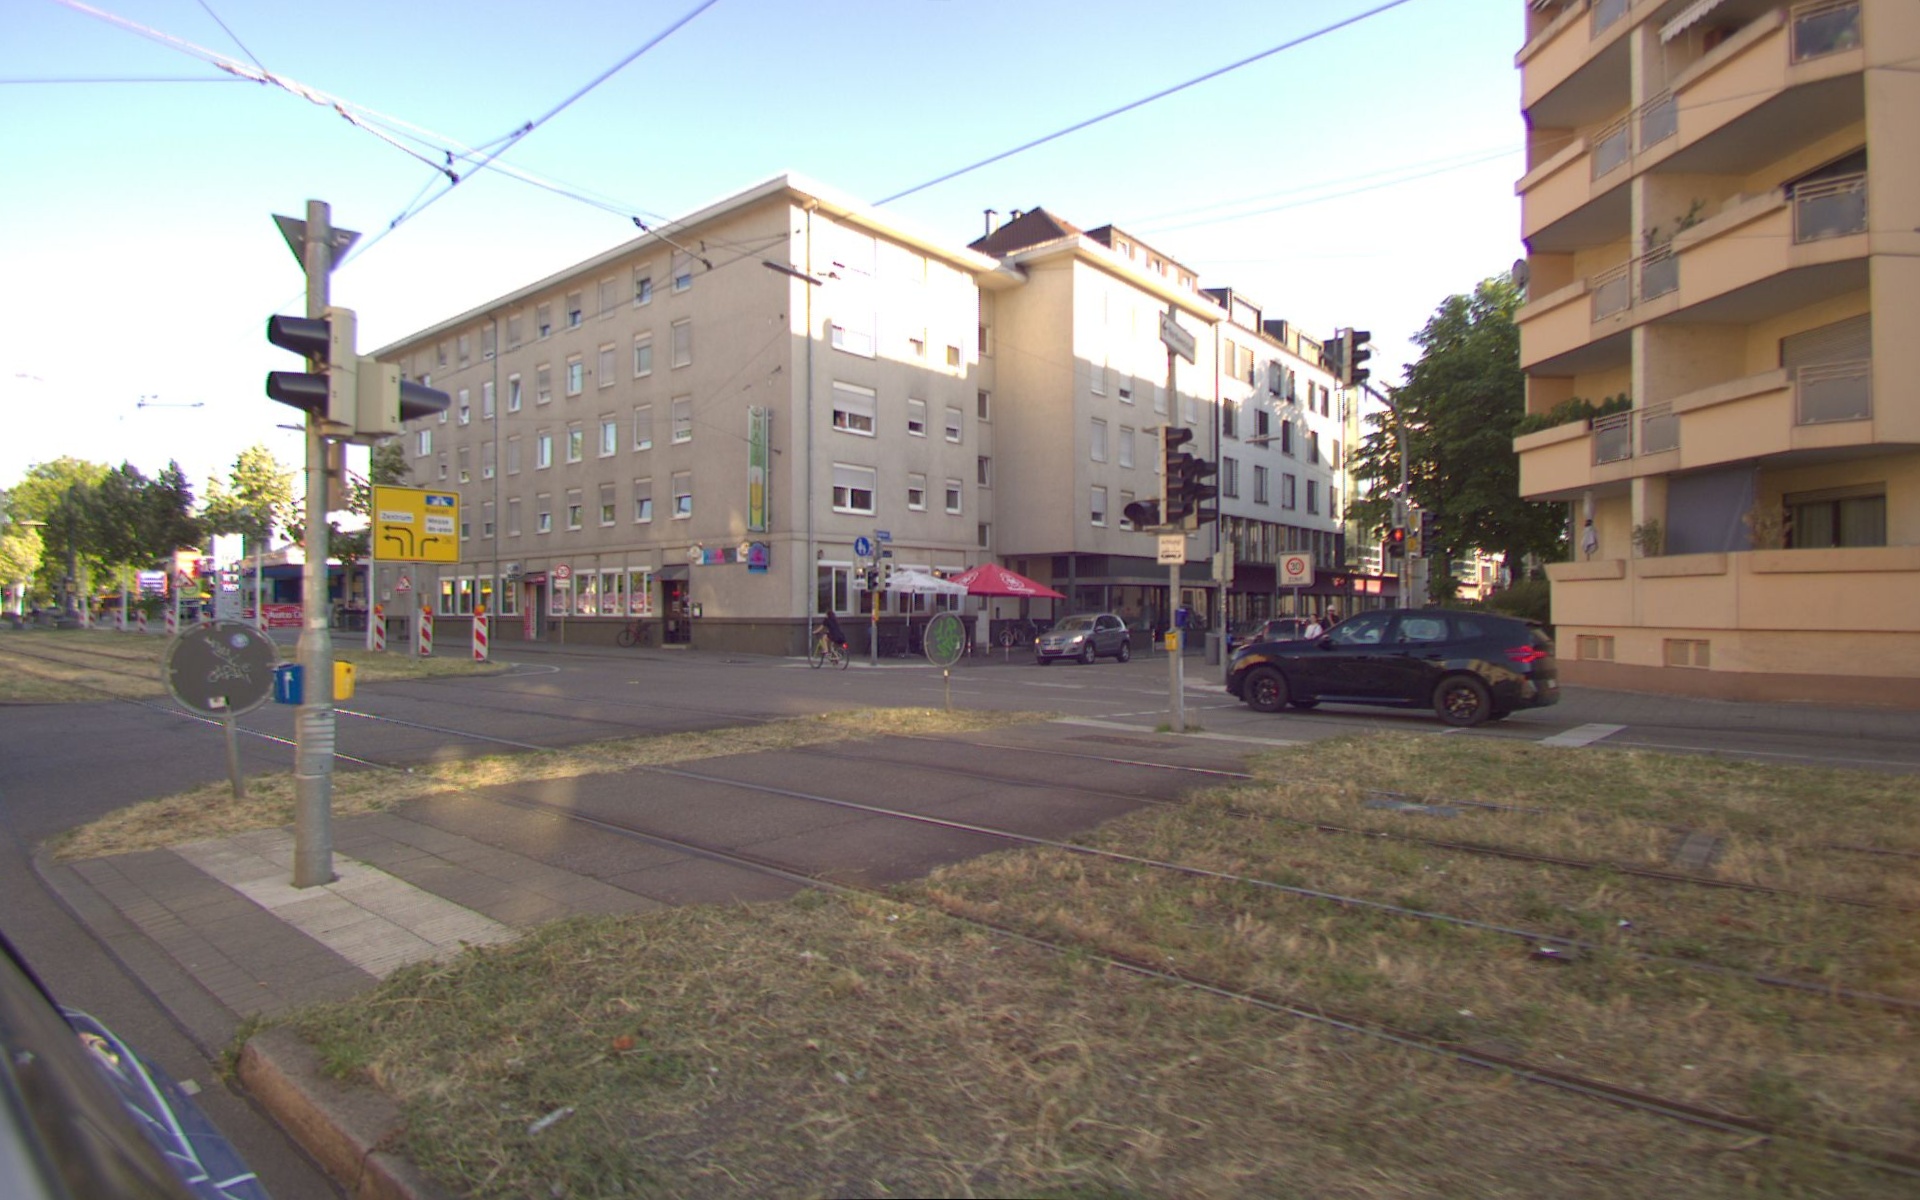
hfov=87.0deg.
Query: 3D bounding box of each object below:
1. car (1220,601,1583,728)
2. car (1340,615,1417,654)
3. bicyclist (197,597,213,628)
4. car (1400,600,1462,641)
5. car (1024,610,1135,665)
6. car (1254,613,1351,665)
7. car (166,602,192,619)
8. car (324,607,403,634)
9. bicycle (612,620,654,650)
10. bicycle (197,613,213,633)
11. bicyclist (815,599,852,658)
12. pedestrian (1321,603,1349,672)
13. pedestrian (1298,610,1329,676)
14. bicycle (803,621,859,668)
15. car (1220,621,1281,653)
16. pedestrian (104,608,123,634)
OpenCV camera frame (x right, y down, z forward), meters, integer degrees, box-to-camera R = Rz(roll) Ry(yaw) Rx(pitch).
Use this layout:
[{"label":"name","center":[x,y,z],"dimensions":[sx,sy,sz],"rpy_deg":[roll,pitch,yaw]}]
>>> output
[{"label":"car","center":[6.557,0.852,15.359],"dimensions":[4.743,1.646,1.878],"rpy_deg":[0,-1,39]},{"label":"car","center":[15.441,1.237,37.270],"dimensions":[1.771,1.273,3.265],"rpy_deg":[0,0,39]},{"label":"bicyclist","center":[-47.065,0.785,63.074],"dimensions":[0.809,1.897,0.644],"rpy_deg":[-1,-2,42]},{"label":"car","center":[24.397,1.007,52.329],"dimensions":[1.998,2.029,3.947],"rpy_deg":[0,0,39]},{"label":"car","center":[3.922,1.161,32.755],"dimensions":[1.994,1.636,4.152],"rpy_deg":[-1,-1,32]},{"label":"car","center":[10.713,1.163,31.514],"dimensions":[1.994,1.453,3.956],"rpy_deg":[-1,-1,32]},{"label":"car","center":[-75.099,0.999,97.252],"dimensions":[1.756,1.567,4.006],"rpy_deg":[-1,2,-40]},{"label":"car","center":[-35.759,1.229,60.763],"dimensions":[1.906,1.480,3.681],"rpy_deg":[-3,-2,39]},{"label":"bicycle","center":[-12.099,1.271,37.396],"dimensions":[1.844,1.031,0.601],"rpy_deg":[0,1,41]},{"label":"bicycle","center":[-47.064,1.441,63.077],"dimensions":[1.870,1.267,0.450],"rpy_deg":[-2,-1,43]},{"label":"bicyclist","center":[-3.463,0.775,27.739],"dimensions":[0.619,1.598,0.809],"rpy_deg":[0,-1,-44]},{"label":"pedestrian","center":[9.519,0.933,25.680],"dimensions":[0.583,1.718,0.463],"rpy_deg":[-1,1,-44]},{"label":"pedestrian","center":[8.646,1.038,24.731],"dimensions":[0.542,1.564,0.516],"rpy_deg":[-1,1,-44]},{"label":"bicycle","center":[-3.565,1.210,27.824],"dimensions":[0.450,1.267,1.871],"rpy_deg":[0,-1,-45]},{"label":"car","center":[13.004,1.623,45.222],"dimensions":[1.503,1.321,3.091],"rpy_deg":[0,-1,40]},{"label":"pedestrian","center":[-43.278,1.062,51.723],"dimensions":[0.581,1.280,0.655],"rpy_deg":[-2,0,41]}]
